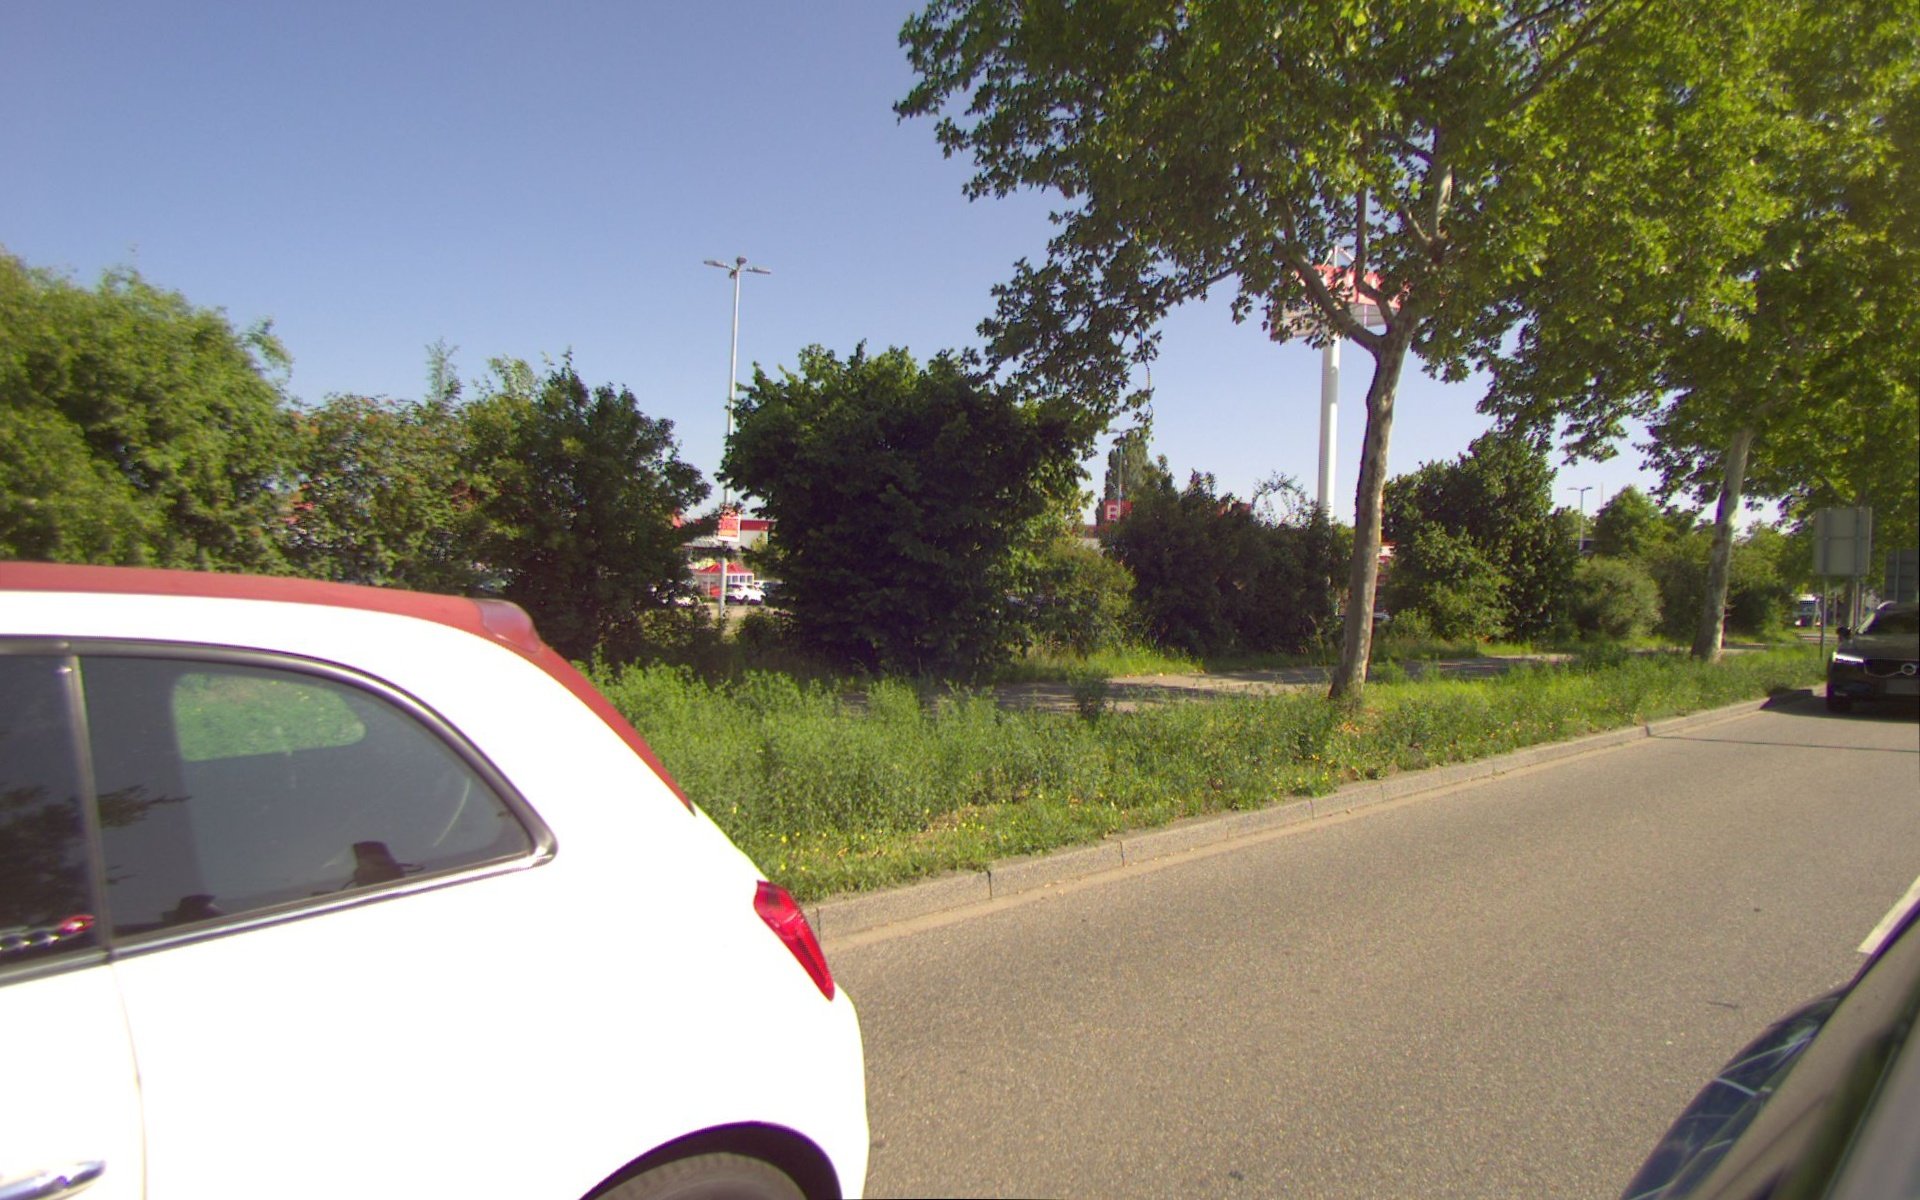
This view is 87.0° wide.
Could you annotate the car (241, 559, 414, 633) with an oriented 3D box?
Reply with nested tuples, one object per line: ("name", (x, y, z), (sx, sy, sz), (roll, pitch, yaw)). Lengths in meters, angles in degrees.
("car", (-13.317, -0.089, 21.276), (3.516, 1.438, 1.685), (1, 0, 31))

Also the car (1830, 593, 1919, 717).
("car", (14.522, 0.736, 14.969), (4.485, 1.643, 1.922), (0, 0, -41))

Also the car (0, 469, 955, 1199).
("car", (-1.868, 0.588, 1.345), (3.456, 1.454, 1.665), (0, 0, -39))

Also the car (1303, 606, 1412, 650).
("car", (16.721, 1.135, 42.666), (1.670, 1.693, 3.989), (0, 0, -44))

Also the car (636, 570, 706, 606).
("car", (-14.887, -0.622, 52.324), (1.736, 1.794, 3.983), (0, 0, 13))

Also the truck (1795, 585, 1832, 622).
("truck", (93.100, 0.390, 110.452), (2.728, 3.944, 5.772), (0, 0, 38))
